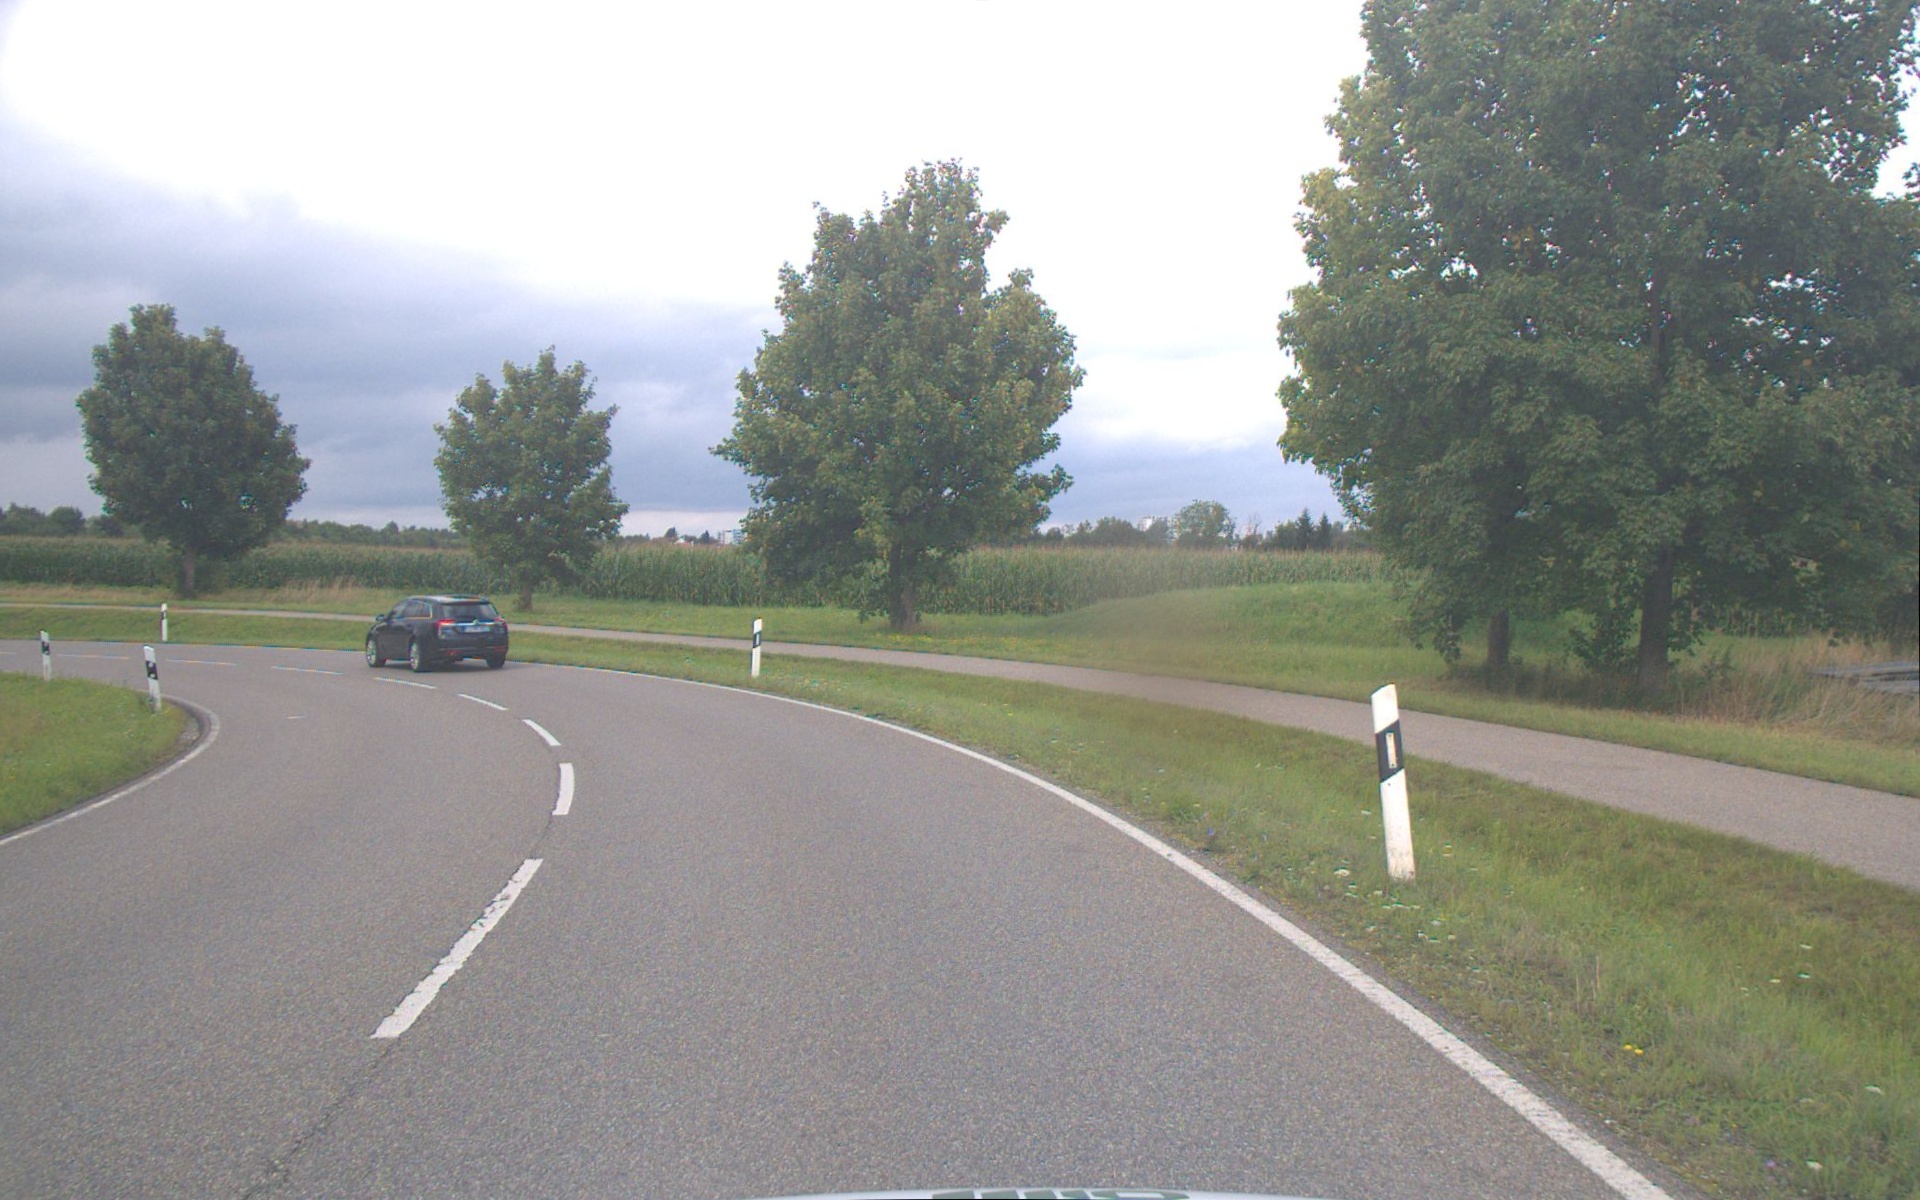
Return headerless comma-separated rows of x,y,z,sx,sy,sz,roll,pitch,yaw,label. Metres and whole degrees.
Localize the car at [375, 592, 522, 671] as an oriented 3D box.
-10.527,0.610,33.870,1.825,1.442,3.953,1,1,-34,car
